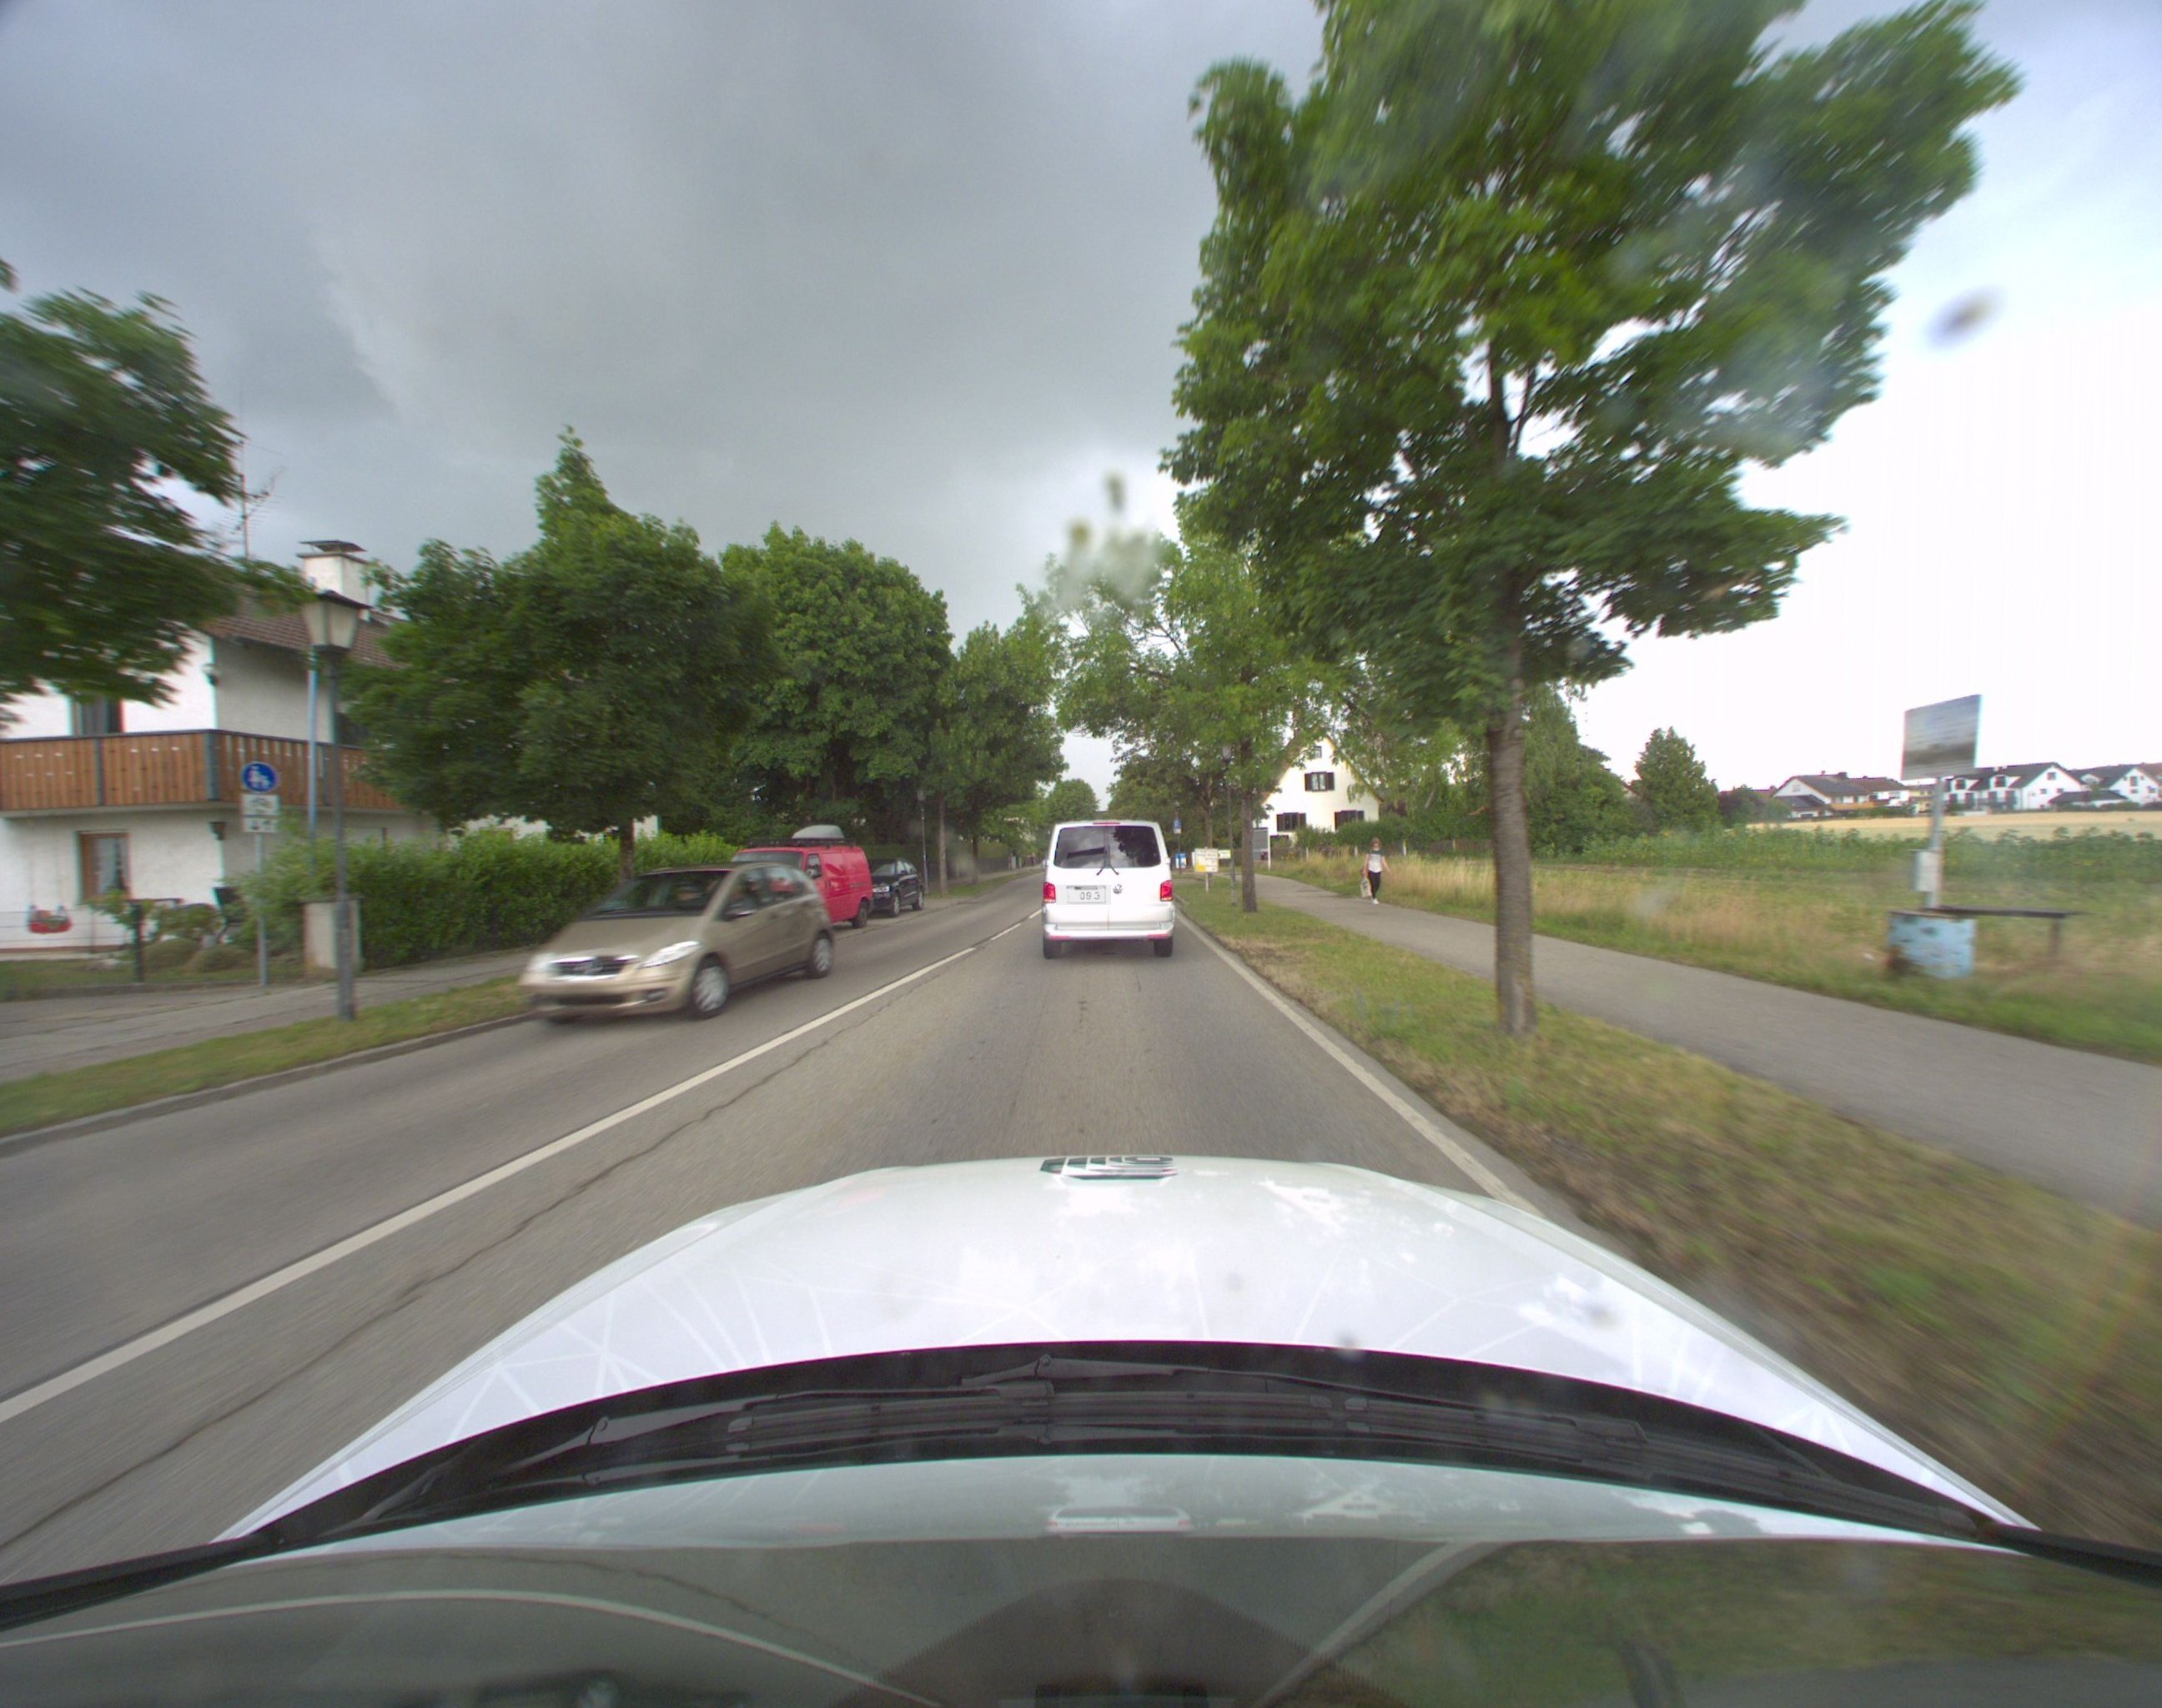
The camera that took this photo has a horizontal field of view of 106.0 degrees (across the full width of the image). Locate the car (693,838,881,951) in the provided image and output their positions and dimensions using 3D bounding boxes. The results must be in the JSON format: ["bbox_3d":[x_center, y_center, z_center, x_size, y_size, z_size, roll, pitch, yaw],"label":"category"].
[{"bbox_3d":[-5.928,0.704,17.208,1.822,2.030,5.051,-1,1,4],"label":"car"}]

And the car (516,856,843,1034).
[{"bbox_3d":[-4.339,0.876,9.477,1.698,1.532,3.513,-4,0,6],"label":"car"}]

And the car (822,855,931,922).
[{"bbox_3d":[-5.617,0.880,22.939,1.764,1.598,4.241,-1,1,3],"label":"car"}]

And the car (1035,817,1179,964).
[{"bbox_3d":[0.427,0.487,12.847,1.880,1.912,4.002,-1,0,2],"label":"car"}]

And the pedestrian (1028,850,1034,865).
[{"bbox_3d":[-5.274,0.383,85.433,0.620,1.549,0.522,-1,0,-1],"label":"pedestrian"}]

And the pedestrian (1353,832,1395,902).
[{"bbox_3d":[7.654,0.329,21.281,0.833,1.755,0.871,-1,0,7],"label":"pedestrian"}]
